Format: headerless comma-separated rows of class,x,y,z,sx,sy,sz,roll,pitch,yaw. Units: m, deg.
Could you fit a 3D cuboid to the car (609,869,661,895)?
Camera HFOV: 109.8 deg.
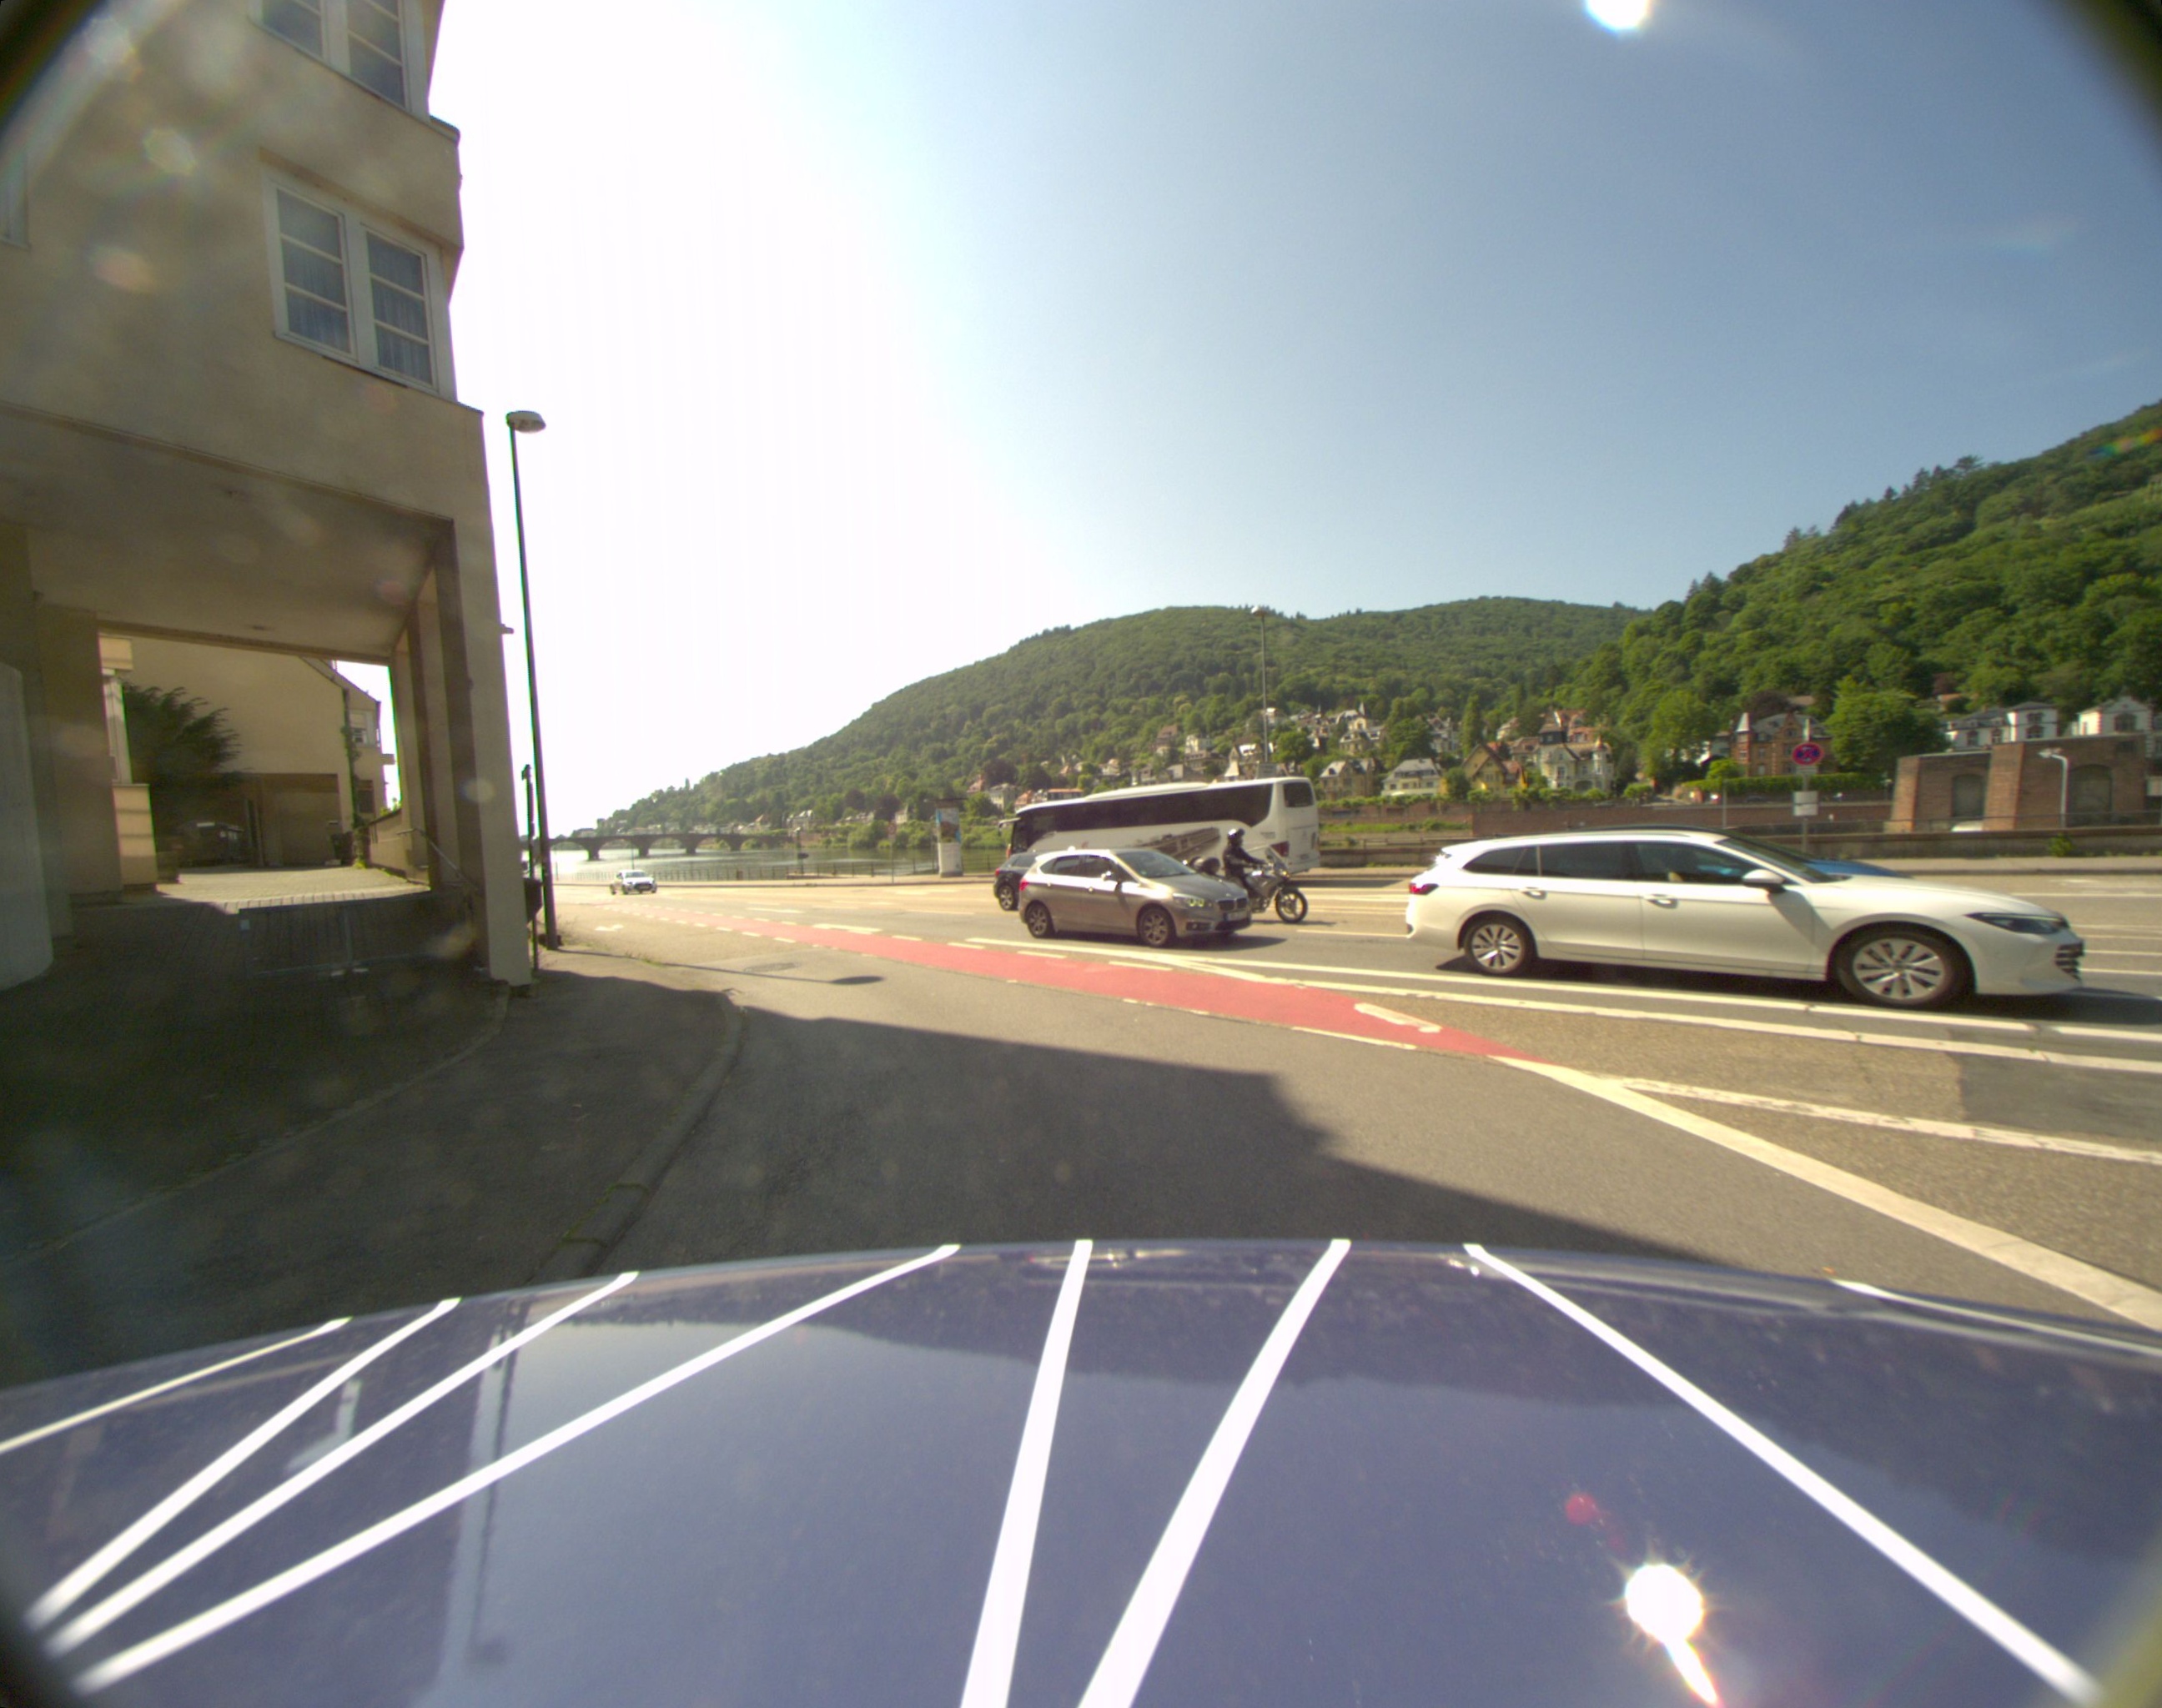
car,-27.316,1.684,46.508,2.003,1.434,3.989,-3,1,-40

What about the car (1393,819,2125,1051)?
car,5.929,0.565,7.469,2.004,1.525,4.845,-3,1,-44

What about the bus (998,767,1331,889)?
bus,2.527,-0.753,29.292,13.207,3.781,2.970,-2,5,42

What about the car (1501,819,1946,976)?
car,7.820,0.454,9.621,3.989,1.553,1.876,-2,1,45

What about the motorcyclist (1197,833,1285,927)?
motorcyclist,3.023,0.467,14.353,1.081,1.674,1.153,-4,2,-44

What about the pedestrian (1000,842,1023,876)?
pedestrian,-3.448,0.259,37.717,0.814,1.612,0.706,-1,3,37

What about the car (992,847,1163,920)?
car,-0.182,0.647,18.609,1.878,1.505,4.139,-4,2,-41

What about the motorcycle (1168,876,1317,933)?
motorcycle,2.997,0.911,14.375,1.043,0.914,2.598,-3,1,-43

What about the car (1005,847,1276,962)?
car,0.843,0.727,12.739,1.898,1.512,4.293,-4,2,-43
